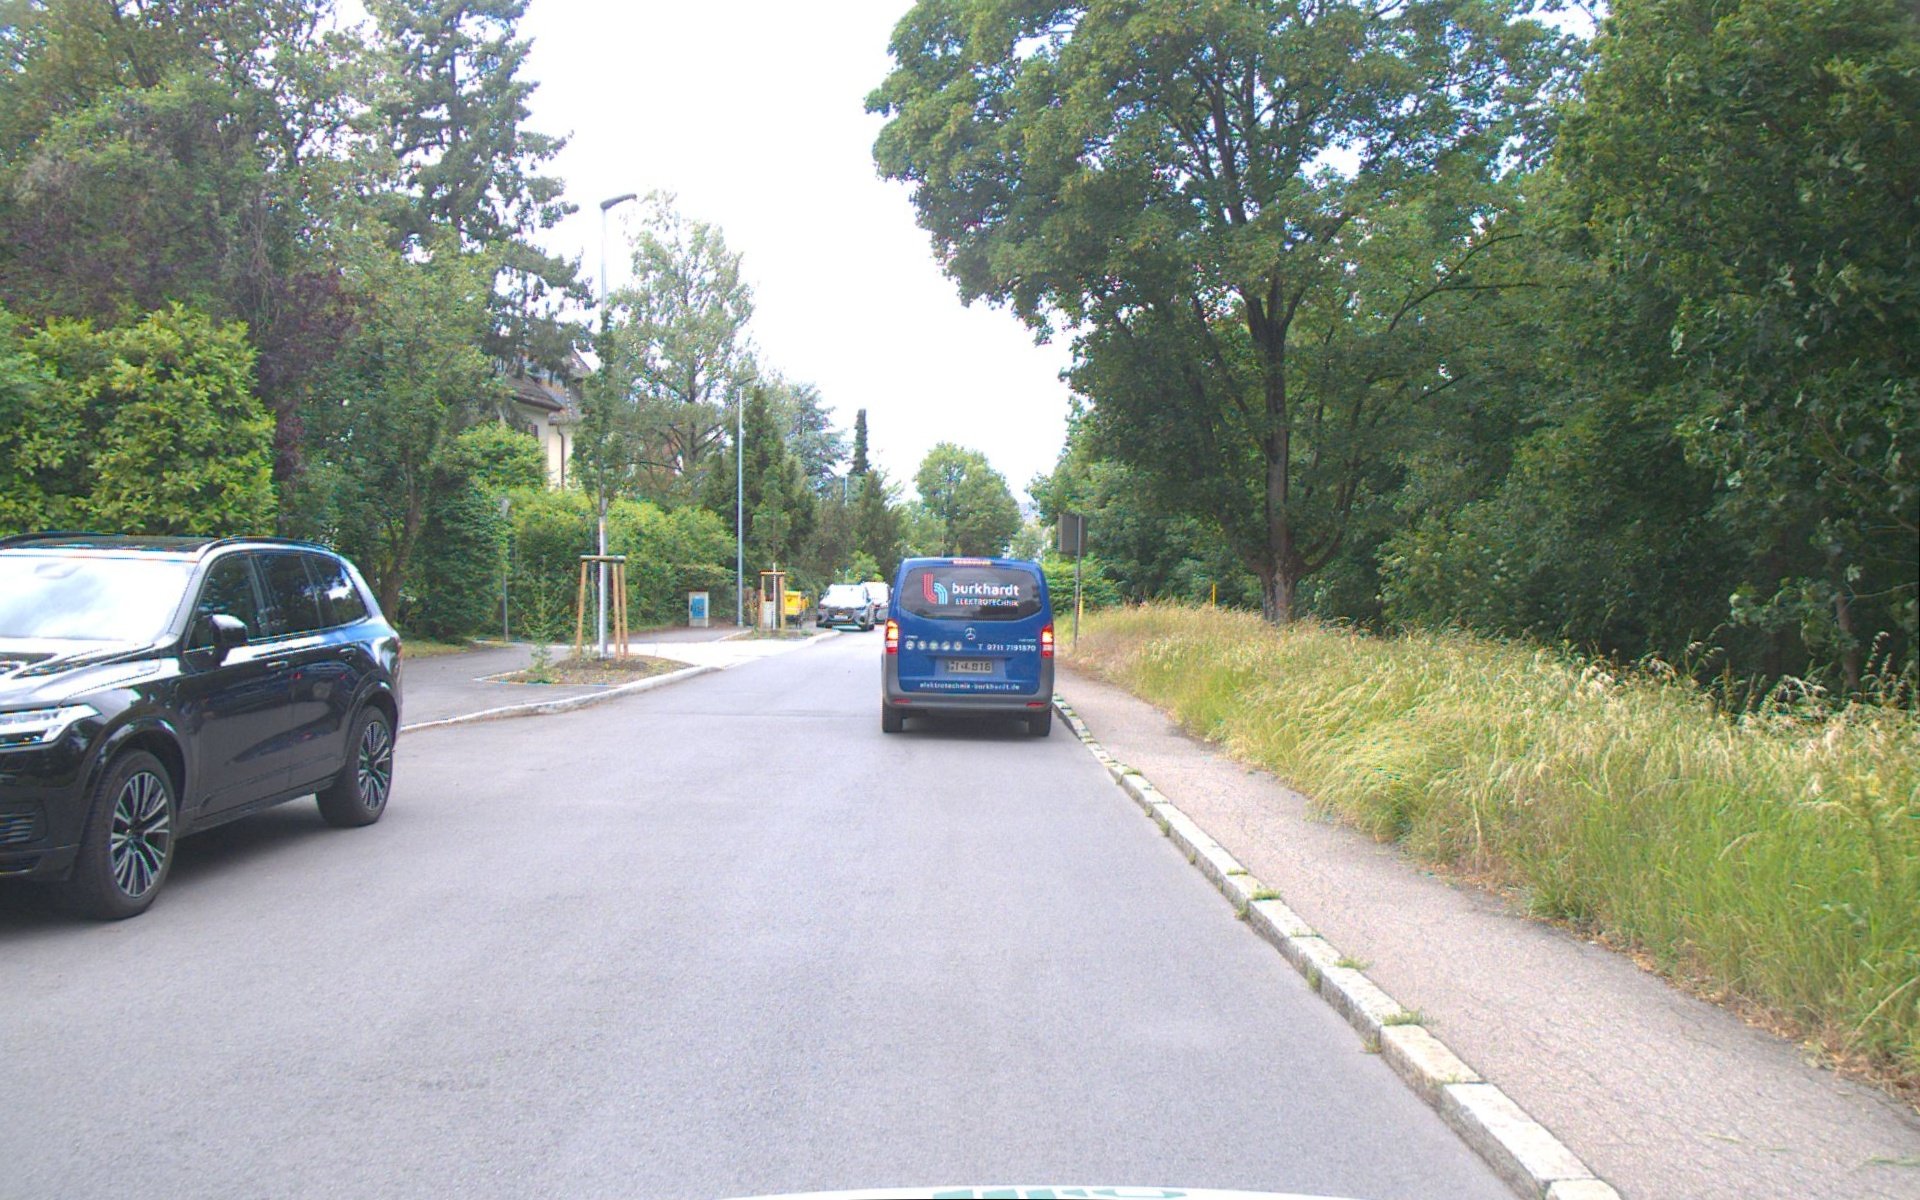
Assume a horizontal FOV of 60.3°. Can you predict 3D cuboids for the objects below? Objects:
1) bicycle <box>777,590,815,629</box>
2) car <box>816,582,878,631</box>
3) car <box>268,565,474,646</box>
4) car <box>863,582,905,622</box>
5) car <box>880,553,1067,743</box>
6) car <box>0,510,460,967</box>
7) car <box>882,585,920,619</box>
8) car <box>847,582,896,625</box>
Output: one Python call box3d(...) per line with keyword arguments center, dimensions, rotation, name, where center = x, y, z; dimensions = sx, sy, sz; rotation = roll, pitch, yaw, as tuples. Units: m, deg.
box3d(center=(-5.683, 0.327, 57.364), dimensions=(0.887, 1.273, 2.916), rotation=(3, 0, 2), name="bicycle")
box3d(center=(-4.065, 0.217, 60.276), dimensions=(1.798, 1.659, 4.301), rotation=(2, 0, 2), name="car")
box3d(center=(-13.254, 0.117, 37.365), dimensions=(3.904, 1.621, 1.869), rotation=(3, 0, 3), name="car")
box3d(center=(-3.629, 0.124, 79.344), dimensions=(1.794, 1.836, 4.000), rotation=(1, 0, 0), name="car")
box3d(center=(0.051, 0.441, 18.884), dimensions=(1.851, 1.876, 3.999), rotation=(2, 2, -3), name="car")
box3d(center=(-4.526, 0.501, 9.000), dimensions=(1.934, 1.767, 5.190), rotation=(1, 0, 1), name="car")
box3d(center=(-3.343, 0.107, 94.823), dimensions=(1.853, 1.721, 4.551), rotation=(2, 2, 2), name="car")
box3d(center=(-3.867, 0.119, 73.179), dimensions=(1.794, 1.782, 4.001), rotation=(2, 1, 2), name="car")
